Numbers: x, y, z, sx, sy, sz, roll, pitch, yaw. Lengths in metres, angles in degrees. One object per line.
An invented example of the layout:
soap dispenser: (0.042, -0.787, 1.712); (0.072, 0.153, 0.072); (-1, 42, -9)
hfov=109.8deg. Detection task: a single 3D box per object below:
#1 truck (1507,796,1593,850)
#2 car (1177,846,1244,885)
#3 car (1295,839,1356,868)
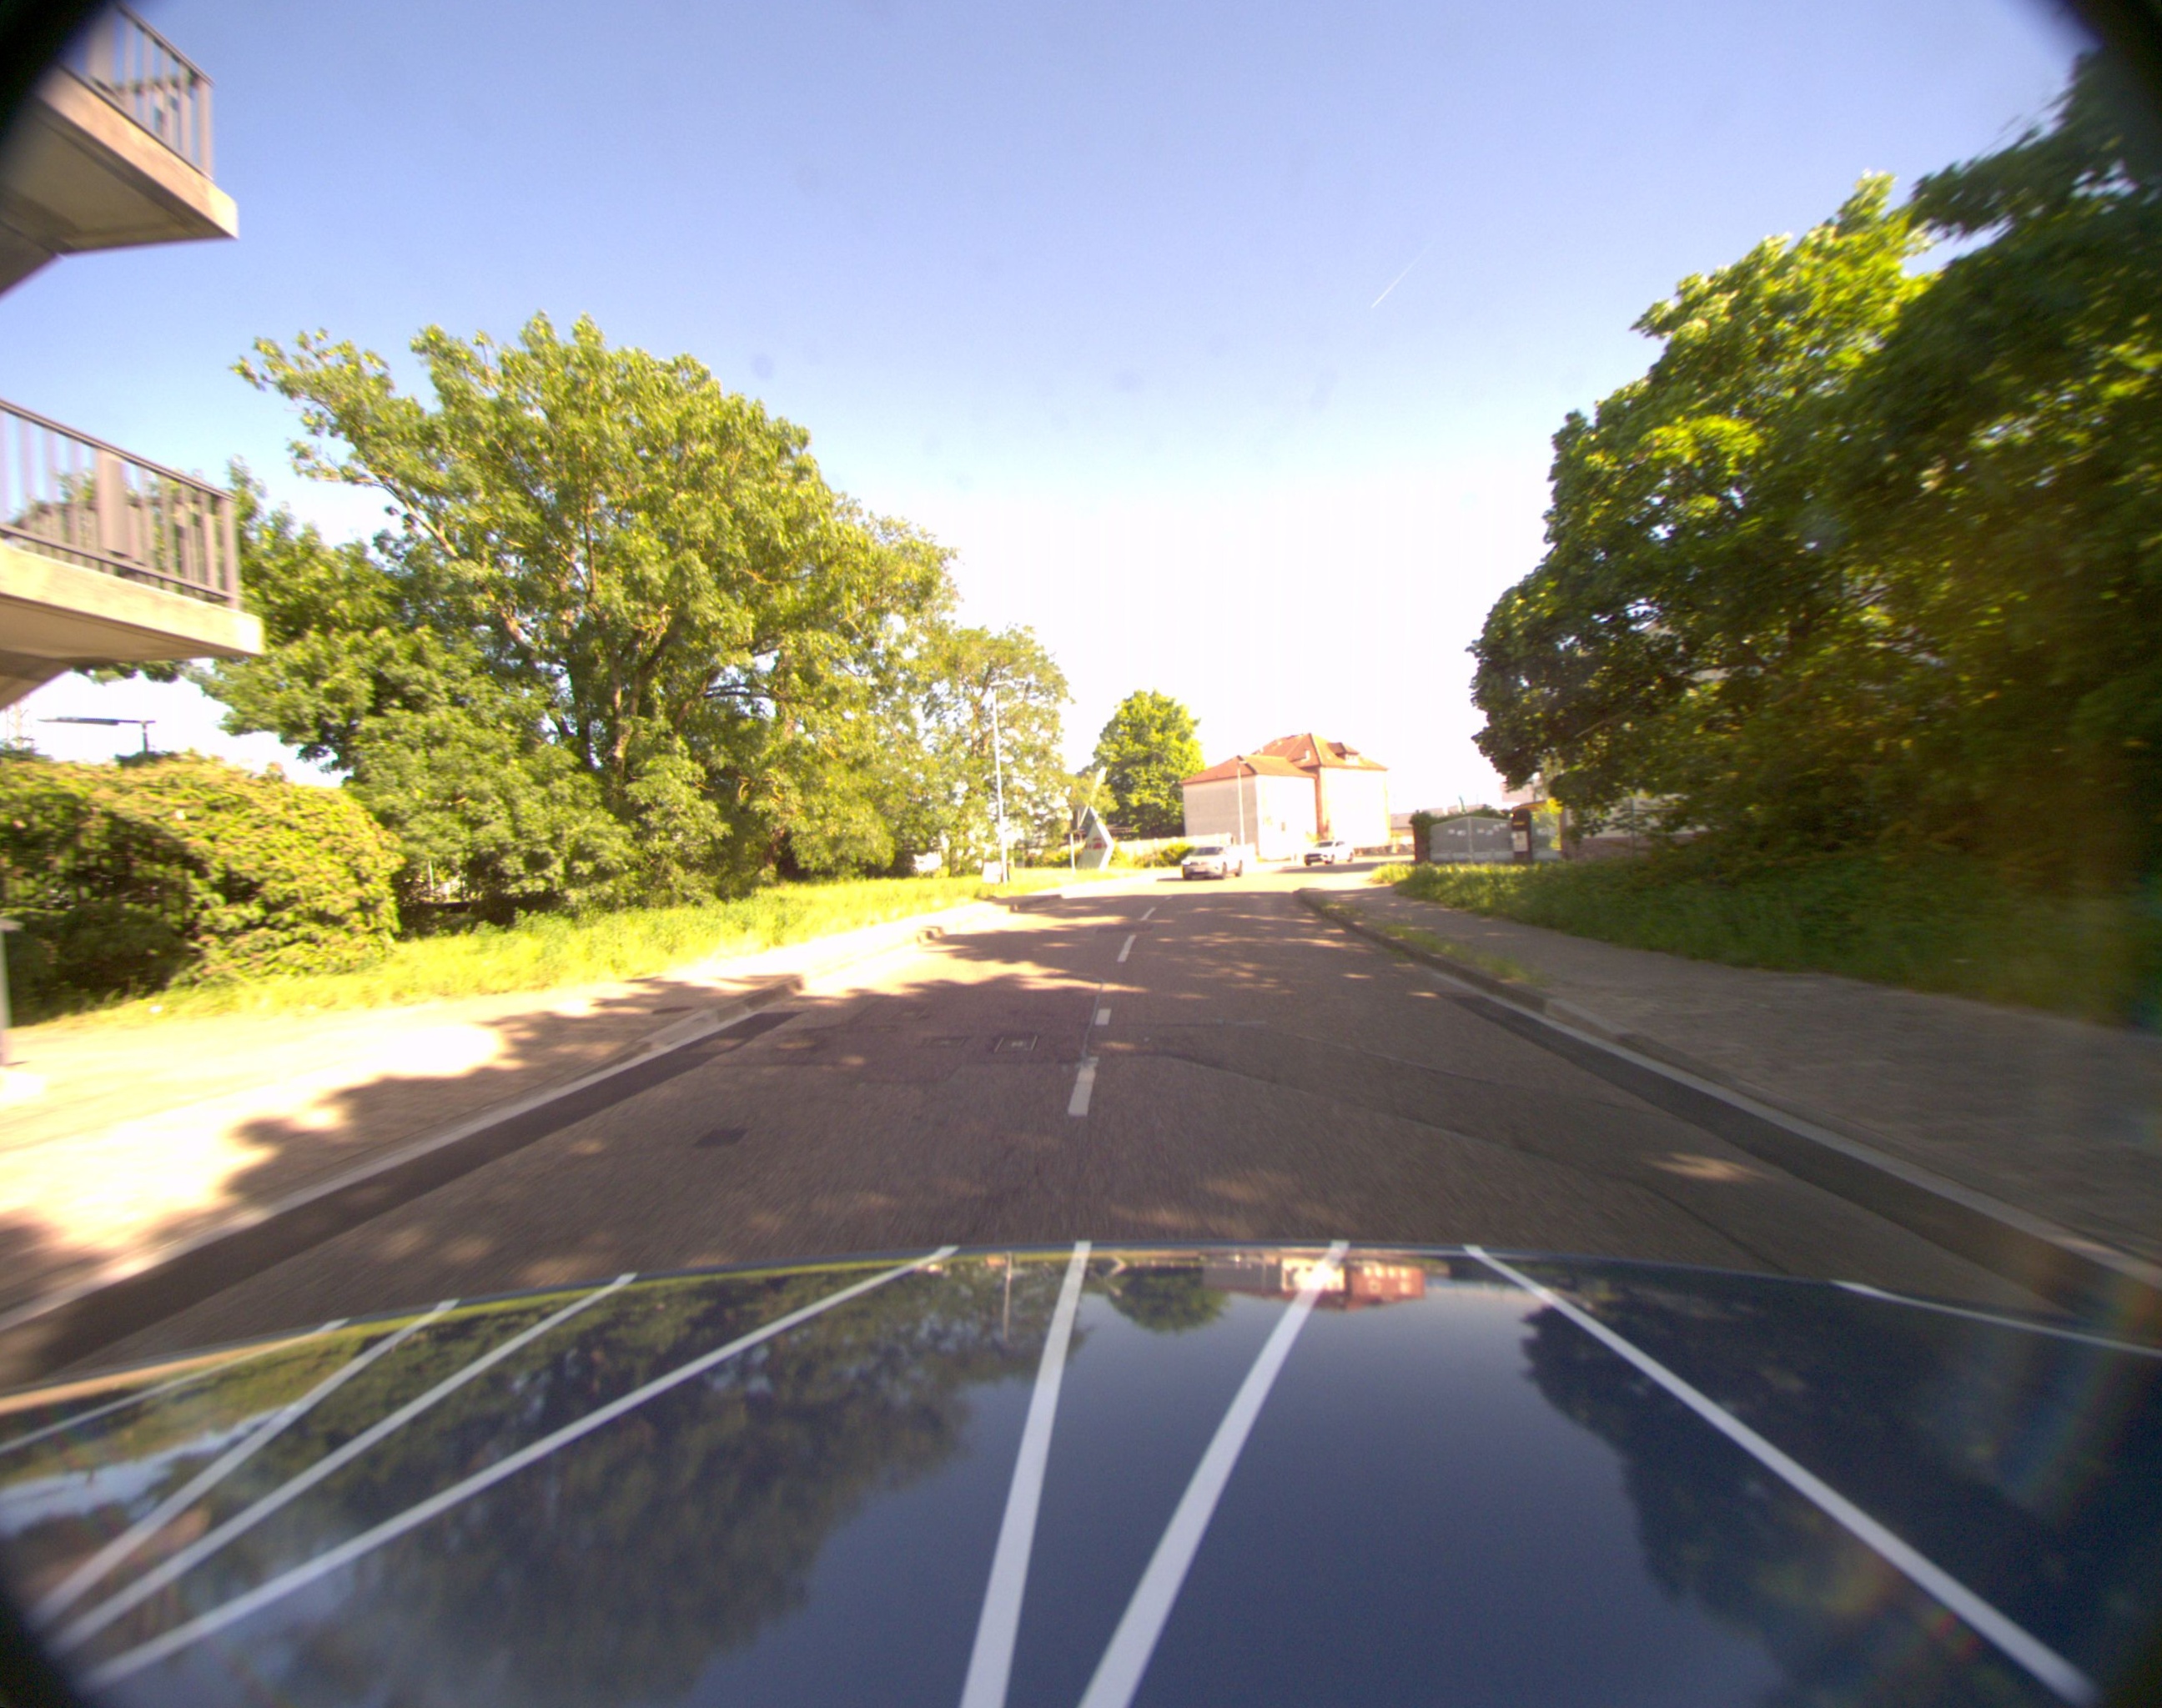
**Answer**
truck: (36.159, -2.399, 58.473); (8.021, 3.596, 2.845); (-3, -4, -40)
car: (6.049, 0.486, 35.044); (1.847, 1.621, 4.302); (-2, 0, 26)
car: (15.624, -0.060, 48.426); (4.303, 1.621, 1.846); (-3, 1, -44)
